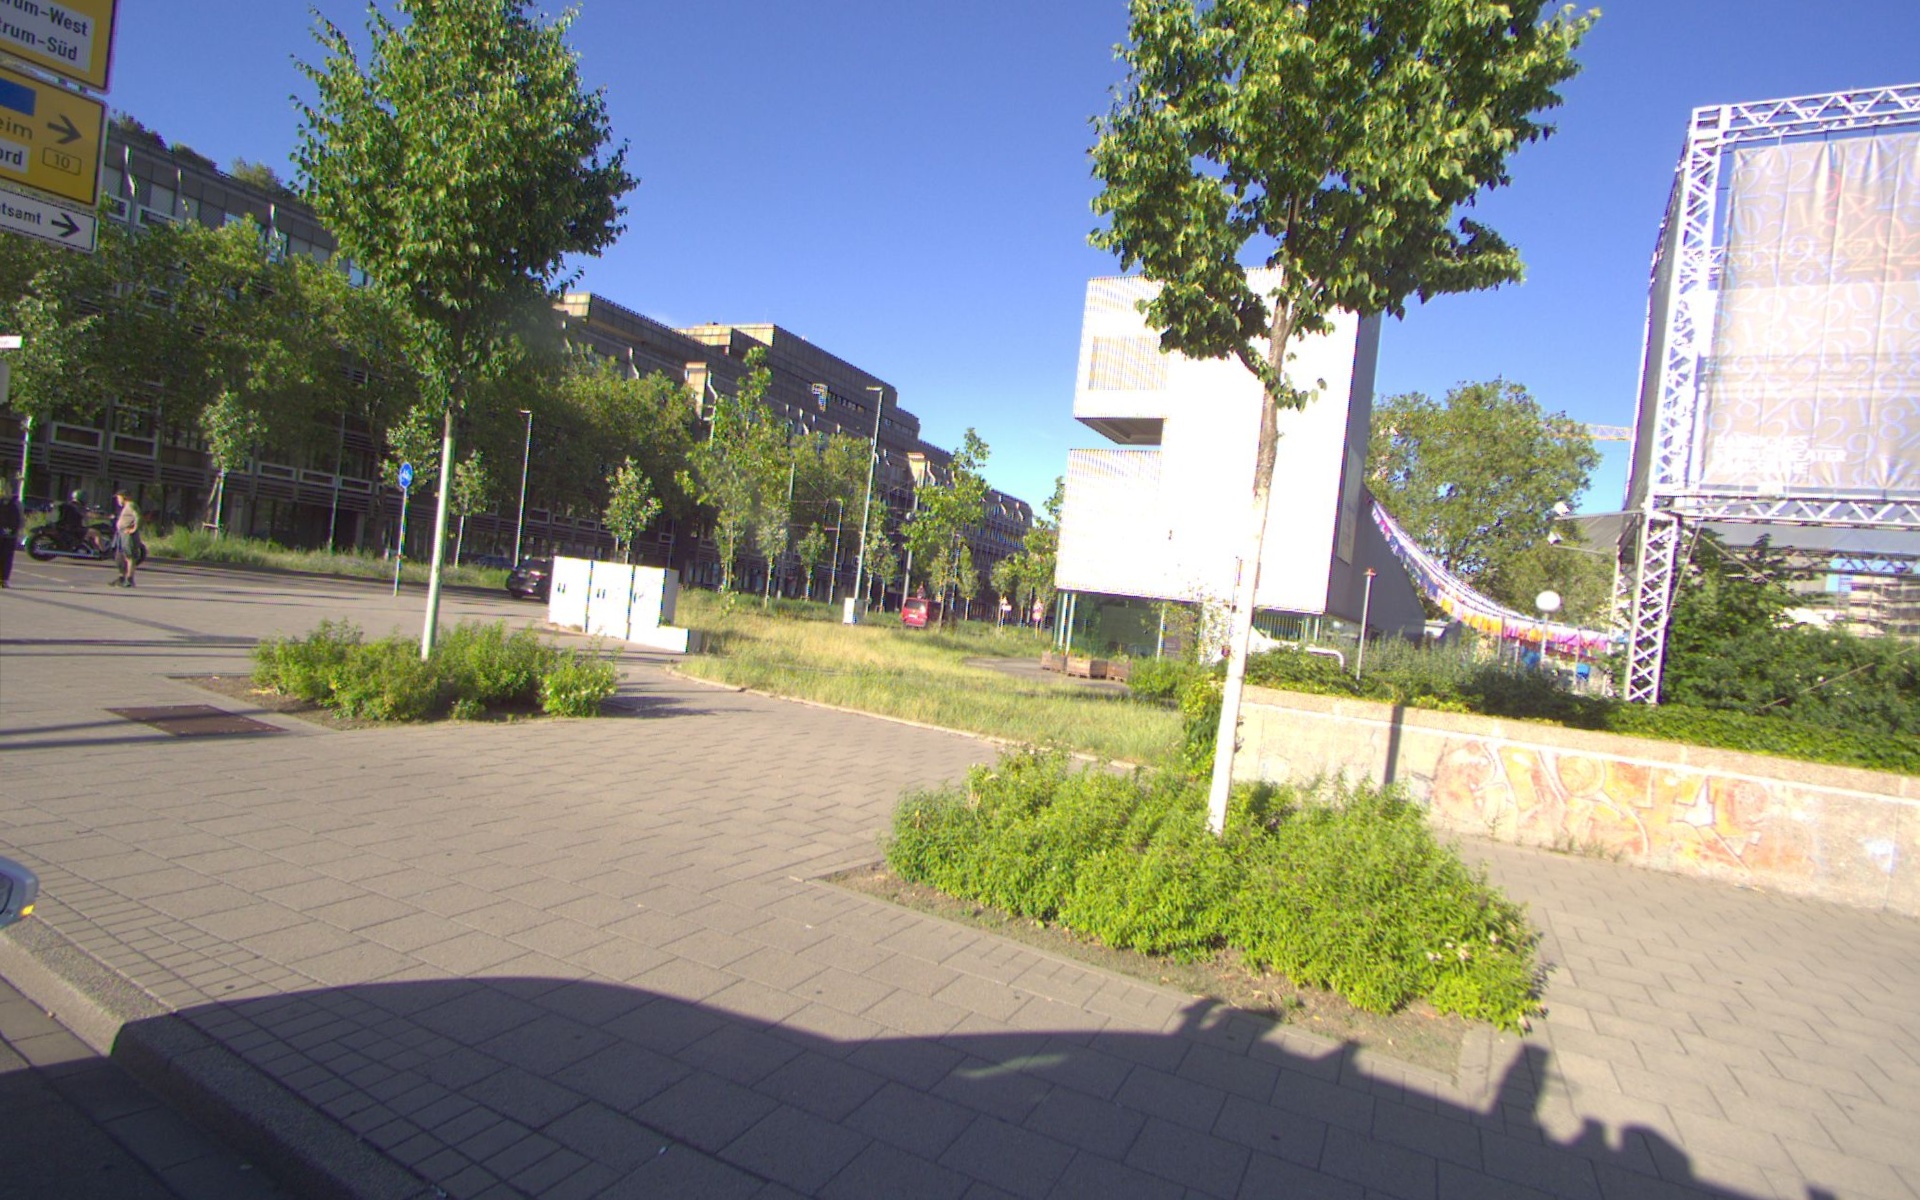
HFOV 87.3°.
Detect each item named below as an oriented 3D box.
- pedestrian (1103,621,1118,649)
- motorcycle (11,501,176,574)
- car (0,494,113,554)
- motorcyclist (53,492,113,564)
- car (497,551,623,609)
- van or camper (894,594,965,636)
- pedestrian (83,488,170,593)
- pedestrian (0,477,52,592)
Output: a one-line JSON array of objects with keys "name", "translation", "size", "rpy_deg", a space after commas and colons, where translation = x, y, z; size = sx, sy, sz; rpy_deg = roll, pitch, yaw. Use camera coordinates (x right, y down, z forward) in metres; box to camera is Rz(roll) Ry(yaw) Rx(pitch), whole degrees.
[{"name": "pedestrian", "translation": [9.156, 2.124, 61.196], "size": [0.520, 1.571, 0.638], "rpy_deg": [7, -1, 31]}, {"name": "motorcycle", "translation": [-18.922, -1.331, 22.070], "size": [0.716, 1.223, 2.602], "rpy_deg": [8, 0, 23]}, {"name": "car", "translation": [-33.166, -2.775, 35.724], "size": [1.792, 1.704, 4.302], "rpy_deg": [7, -1, 21]}, {"name": "motorcyclist", "translation": [-18.996, -1.552, 21.796], "size": [0.636, 1.441, 0.658], "rpy_deg": [8, 1, 23]}, {"name": "car", "translation": [-13.738, -0.639, 34.770], "size": [1.642, 1.528, 3.871], "rpy_deg": [7, -1, 25]}, {"name": "van or camper", "translation": [-1.791, 0.921, 60.540], "size": [1.972, 2.038, 4.838], "rpy_deg": [7, -1, 27]}, {"name": "pedestrian", "translation": [-14.906, -1.052, 18.001], "size": [0.755, 1.728, 0.873], "rpy_deg": [7, 1, 30]}, {"name": "pedestrian", "translation": [-14.247, -0.997, 14.955], "size": [0.859, 1.634, 0.767], "rpy_deg": [7, 1, 30]}]
